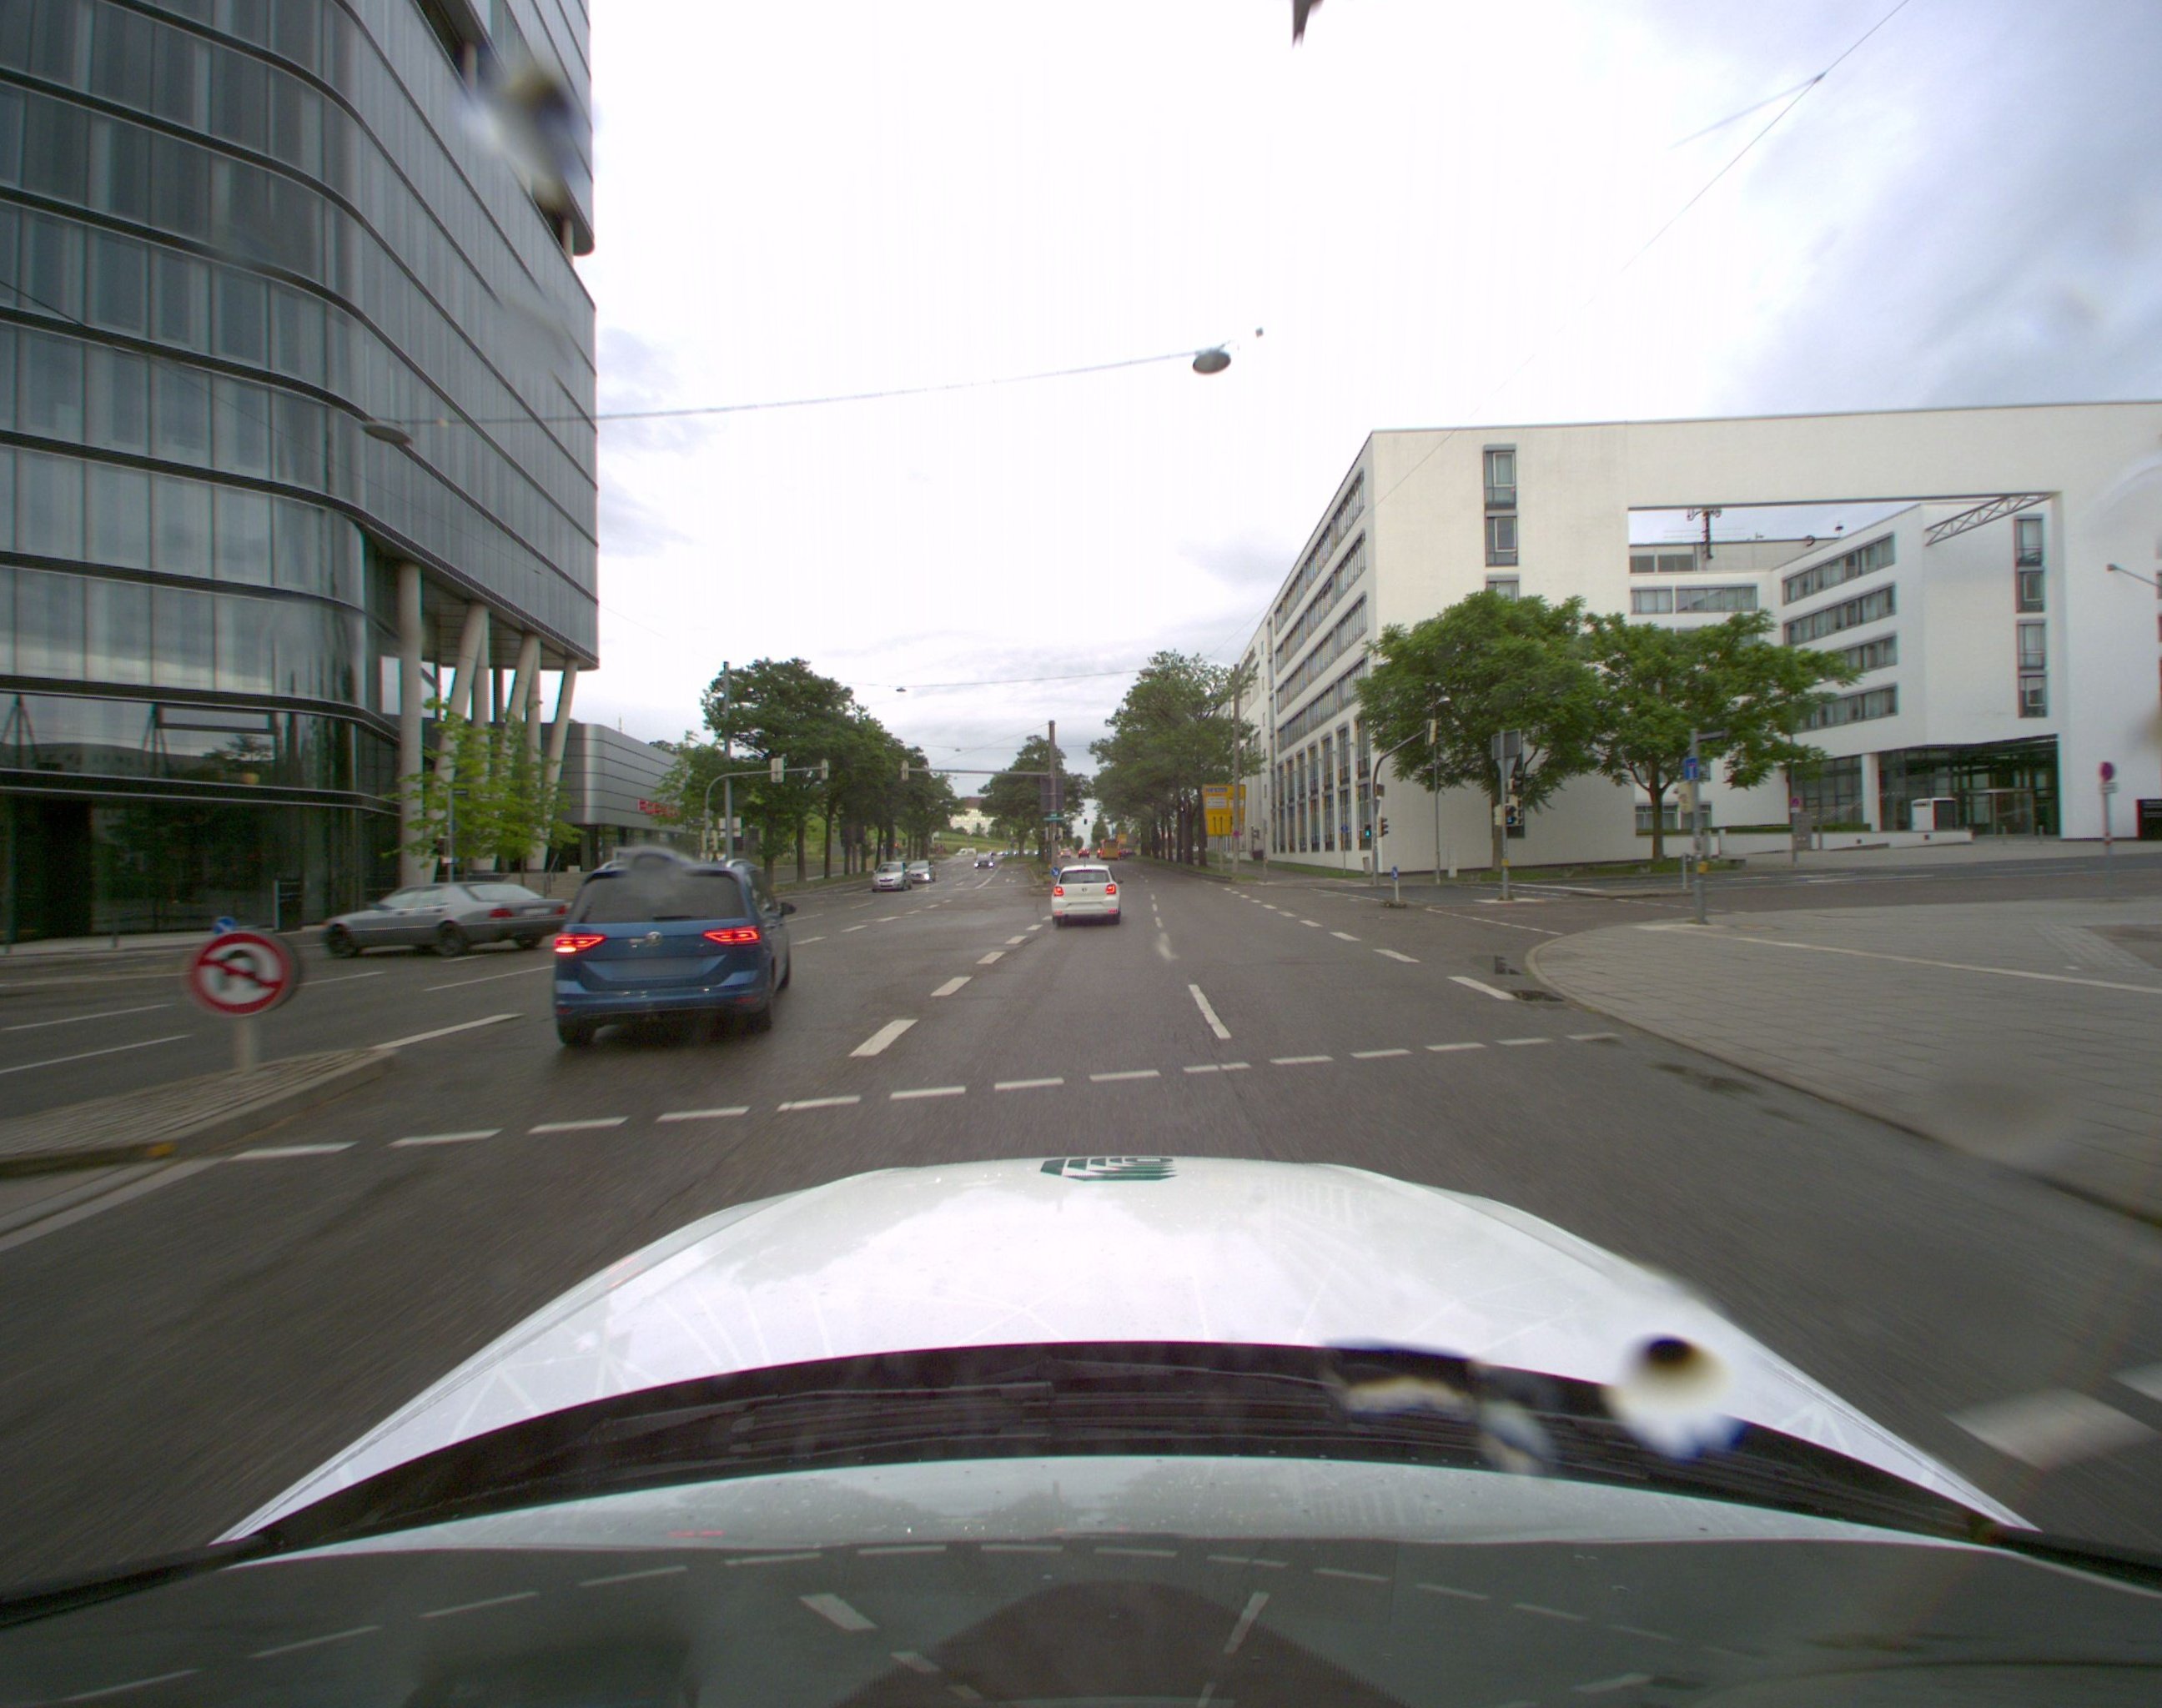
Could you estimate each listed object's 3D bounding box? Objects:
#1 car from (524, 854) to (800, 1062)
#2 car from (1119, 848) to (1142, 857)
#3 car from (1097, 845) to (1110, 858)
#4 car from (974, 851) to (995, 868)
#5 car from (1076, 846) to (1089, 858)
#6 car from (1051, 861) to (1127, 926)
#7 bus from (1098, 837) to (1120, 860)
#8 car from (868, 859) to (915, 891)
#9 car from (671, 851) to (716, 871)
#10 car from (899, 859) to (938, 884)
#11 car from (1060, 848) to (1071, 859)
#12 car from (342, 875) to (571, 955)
[{"bbox_3d":[-4.098,0.854,8.701,1.776,1.596,4.174,-2,-1,-16],"label":"car"},{"bbox_3d":[8.180,-0.242,135.404,1.679,1.515,3.850,-2,-1,44],"label":"car"},{"bbox_3d":[3.744,-0.398,136.510,1.987,2.013,3.999,-1,0,-1],"label":"car"},{"bbox_3d":[-10.342,0.589,87.724,1.990,1.615,5.113,-3,1,-4],"label":"car"},{"bbox_3d":[0.214,-0.306,135.754,1.987,2.014,3.999,-1,-1,-1],"label":"car"},{"bbox_3d":[0.216,0.937,21.126,1.788,1.502,4.000,-1,-1,1],"label":"car"},{"bbox_3d":[4.146,-0.882,123.326,2.819,3.266,9.998,0,1,0],"label":"bus"},{"bbox_3d":[-10.026,1.094,43.305,1.746,1.520,3.812,-2,0,-3],"label":"car"},{"bbox_3d":[-41.046,0.733,86.371,4.001,2.013,1.987,-2,0,-20],"label":"car"},{"bbox_3d":[-10.552,1.091,53.172,1.810,1.411,4.650,-3,0,-3],"label":"car"},{"bbox_3d":[-2.597,-0.117,137.457,1.789,1.741,3.998,-2,0,-1],"label":"car"},{"bbox_3d":[-13.263,1.275,17.341,4.003,1.510,1.861,-2,-1,17],"label":"car"}]
